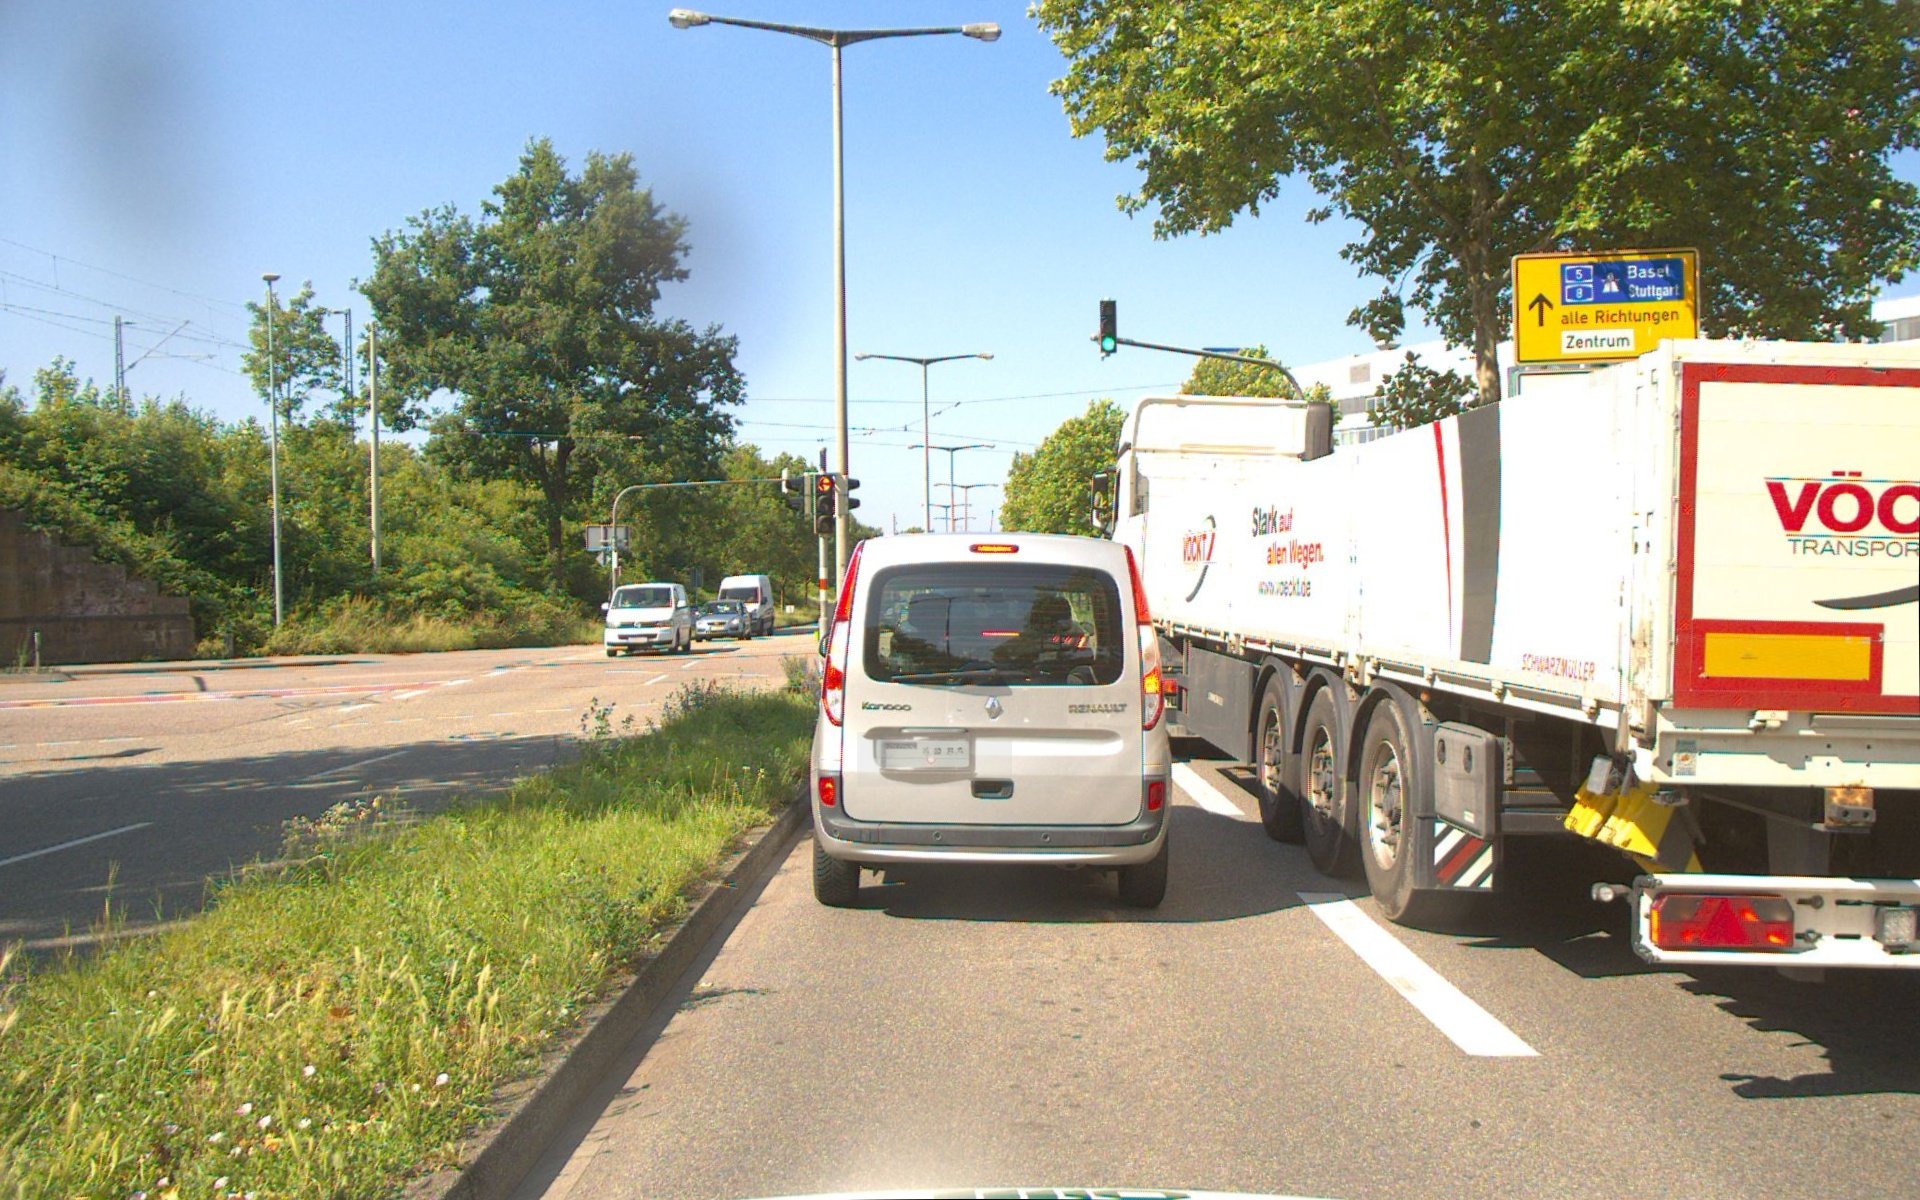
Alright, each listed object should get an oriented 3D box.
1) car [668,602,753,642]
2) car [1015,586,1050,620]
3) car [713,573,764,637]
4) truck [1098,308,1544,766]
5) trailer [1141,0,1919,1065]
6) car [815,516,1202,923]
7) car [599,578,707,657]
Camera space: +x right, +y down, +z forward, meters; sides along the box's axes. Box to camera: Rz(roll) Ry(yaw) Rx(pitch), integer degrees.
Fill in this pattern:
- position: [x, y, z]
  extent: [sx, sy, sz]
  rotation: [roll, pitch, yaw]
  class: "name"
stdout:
- position: [-9.179, 0.781, 60.685]
  extent: [1.888, 1.433, 4.191]
  rotation: [0, 0, -27]
  class: "car"
- position: [4.521, 0.189, 103.484]
  extent: [1.953, 2.049, 3.999]
  rotation: [0, 0, -1]
  class: "car"
- position: [-9.618, 0.216, 72.063]
  extent: [2.019, 2.660, 5.862]
  rotation: [0, 0, -6]
  class: "car"
- position: [3.340, -0.518, 17.576]
  extent: [3.009, 3.823, 7.474]
  rotation: [0, 0, -1]
  class: "truck"
- position: [3.285, -0.629, 10.625]
  extent: [2.954, 3.806, 12.239]
  rotation: [0, 0, 0]
  class: "trailer"
- position: [0.204, 0.536, 9.316]
  extent: [1.713, 1.803, 3.949]
  rotation: [0, 0, 0]
  class: "car"
- position: [-8.228, 0.450, 44.758]
  extent: [1.953, 1.924, 4.987]
  rotation: [-3, 0, -1]
  class: "car"
